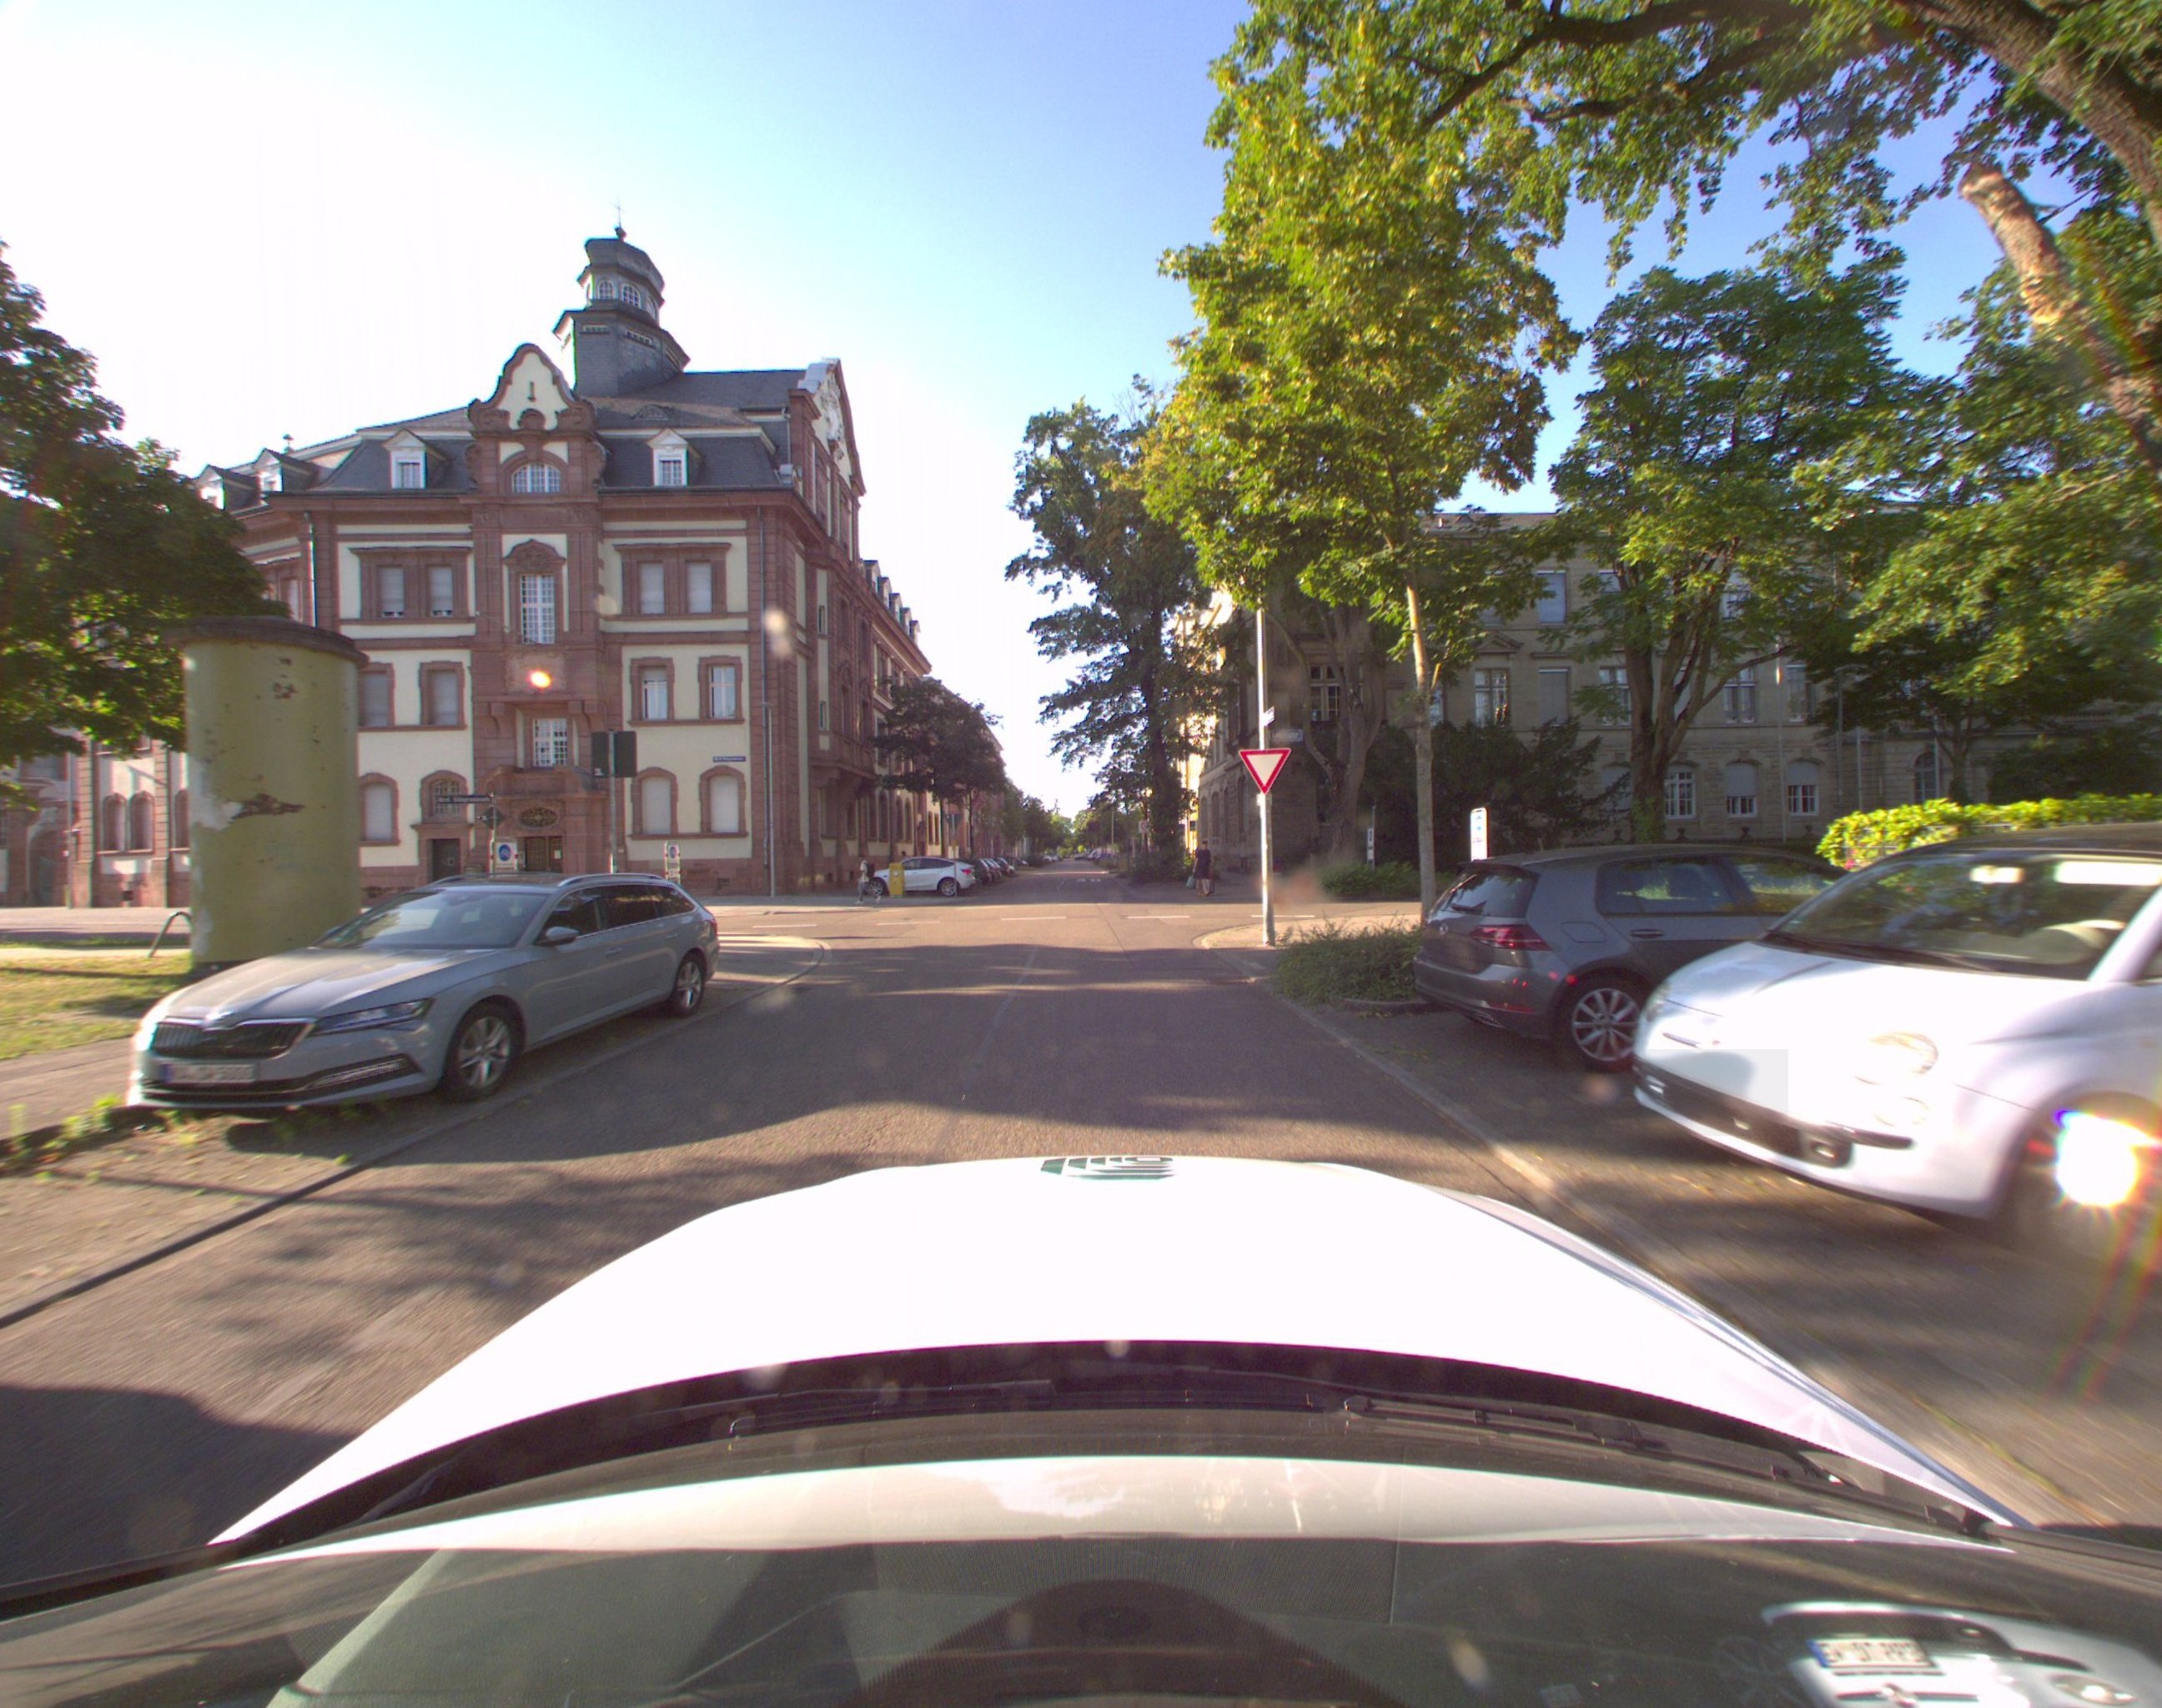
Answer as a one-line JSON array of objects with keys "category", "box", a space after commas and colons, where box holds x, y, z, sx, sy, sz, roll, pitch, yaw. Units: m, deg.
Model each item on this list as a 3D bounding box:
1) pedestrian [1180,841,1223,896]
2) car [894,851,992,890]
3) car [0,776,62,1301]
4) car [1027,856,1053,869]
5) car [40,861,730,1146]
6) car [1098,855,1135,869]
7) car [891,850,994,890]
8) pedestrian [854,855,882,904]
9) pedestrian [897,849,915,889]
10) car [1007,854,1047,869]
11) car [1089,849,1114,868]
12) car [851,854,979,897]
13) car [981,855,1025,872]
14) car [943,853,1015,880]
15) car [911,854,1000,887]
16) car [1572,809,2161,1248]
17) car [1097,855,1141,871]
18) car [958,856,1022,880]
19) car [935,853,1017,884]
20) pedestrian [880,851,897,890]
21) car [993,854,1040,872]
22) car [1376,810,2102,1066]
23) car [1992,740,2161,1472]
[{"category": "pedestrian", "box": [4.165, 0.492, 28.199, 1.067, 1.858, 0.992, -1, 0, -32]}, {"category": "car", "box": [-6.664, 0.786, 39.800, 4.472, 1.717, 1.840, -1, 0, -3]}, {"category": "car", "box": [-4.668, 0.665, 0.726, 1.775, 1.840, 4.551, -1, 0, -1]}, {"category": "car", "box": [-7.371, 1.499, 145.609, 4.572, 2.264, 1.840, -1, 0, -3]}, {"category": "car", "box": [-4.821, 0.841, 6.771, 1.775, 1.505, 4.552, -1, 0, 0]}, {"category": "car", "box": [4.557, 0.991, 103.770, 4.572, 1.608, 1.840, -1, 0, -3]}, {"category": "car", "box": [-6.351, 0.709, 37.742, 4.472, 1.717, 1.840, -1, 0, -3]}, {"category": "pedestrian", "box": [-7.150, 0.849, 27.394, 0.784, 1.606, 0.719, -1, -2, -6]}, {"category": "pedestrian", "box": [-8.802, 0.740, 41.029, 0.784, 1.962, 0.718, -1, -2, -8]}, {"category": "car", "box": [-6.251, 0.854, 94.242, 4.471, 1.608, 1.840, -1, 0, -3]}, {"category": "car", "box": [4.006, 0.866, 159.270, 4.872, 3.618, 1.841, -1, 0, -1]}, {"category": "car", "box": [-6.666, 0.856, 33.121, 4.830, 1.594, 1.840, -1, 0, -3]}, {"category": "car", "box": [-8.042, 0.965, 84.269, 4.471, 1.608, 1.840, -1, 0, -3]}, {"category": "car", "box": [-6.576, 0.809, 52.870, 4.471, 1.608, 1.840, -1, 0, -3]}, {"category": "car", "box": [-6.612, 0.842, 43.259, 4.471, 1.608, 1.840, -1, 0, -3]}, {"category": "car", "box": [4.681, 0.579, 3.630, 3.938, 1.516, 1.676, -1, 0, 2]}, {"category": "car", "box": [4.019, 0.982, 86.117, 4.471, 1.608, 1.840, -1, 0, -3]}, {"category": "car", "box": [-6.509, 0.968, 58.668, 4.471, 1.608, 1.840, -1, 0, -3]}, {"category": "car", "box": [-5.926, 0.817, 46.401, 4.471, 1.608, 1.840, -1, 0, -3]}, {"category": "pedestrian", "box": [-9.985, 0.853, 42.261, 0.716, 1.962, 0.786, -1, -2, -3]}, {"category": "car", "box": [-6.304, 0.898, 79.736, 4.471, 1.608, 1.840, -1, 0, -3]}, {"category": "car", "box": [4.574, 0.578, 6.204, 3.940, 1.517, 1.874, -2, -2, 1]}, {"category": "car", "box": [4.538, 0.480, 1.197, 4.481, 1.549, 1.889, -1, 0, -3]}]
